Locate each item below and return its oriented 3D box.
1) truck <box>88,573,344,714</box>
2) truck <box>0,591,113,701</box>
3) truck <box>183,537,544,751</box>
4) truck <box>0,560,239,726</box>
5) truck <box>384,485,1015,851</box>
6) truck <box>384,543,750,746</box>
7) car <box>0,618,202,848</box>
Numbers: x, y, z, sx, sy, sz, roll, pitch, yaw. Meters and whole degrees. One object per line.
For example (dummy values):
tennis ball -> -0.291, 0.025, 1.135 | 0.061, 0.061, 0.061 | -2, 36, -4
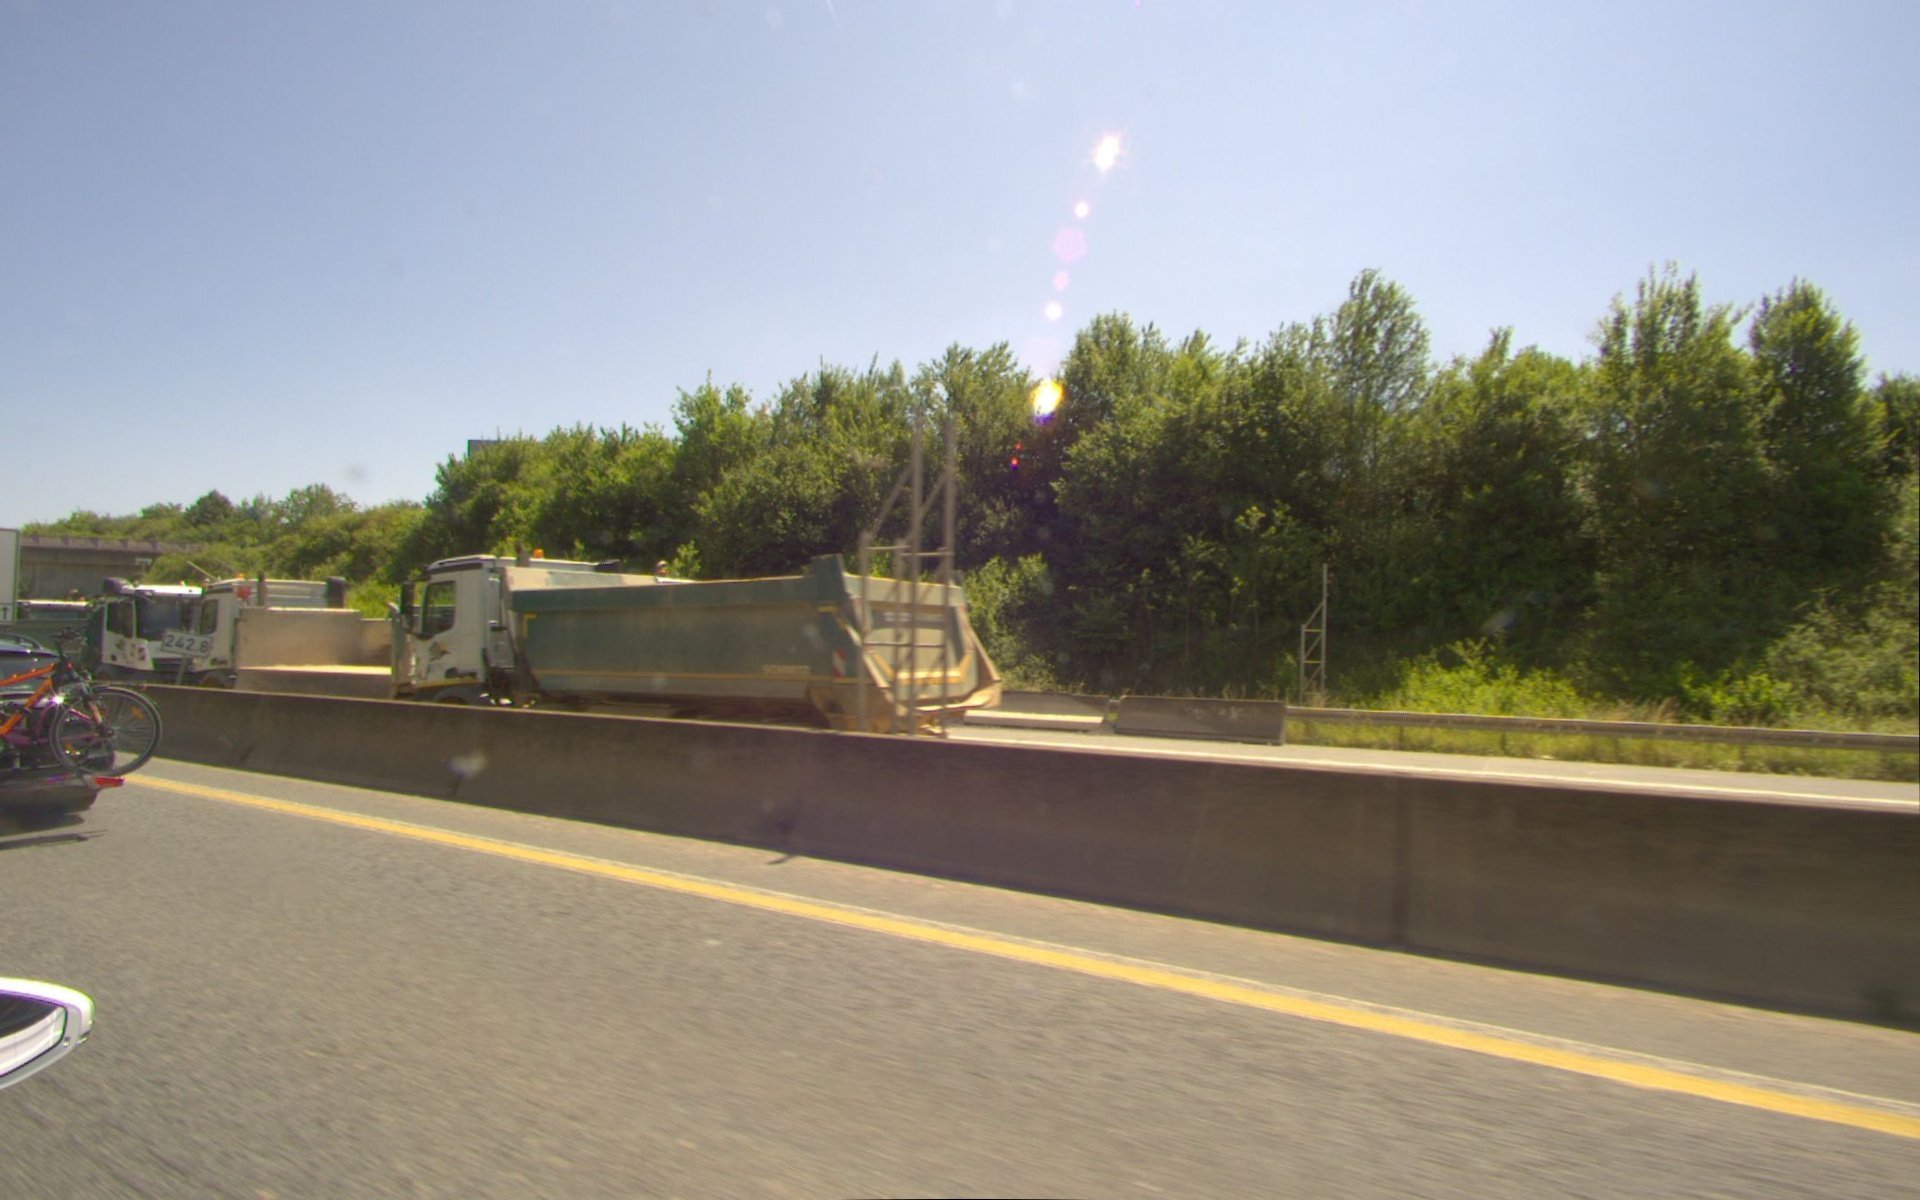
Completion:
truck -> -21.867, 1.217, 29.193 | 9.464, 3.602, 2.683 | -1, -2, 32
truck -> -34.312, 1.605, 36.291 | 9.463, 3.602, 2.683 | -1, -2, 32
truck -> -12.198, 0.823, 20.090 | 8.817, 3.556, 2.529 | -1, -2, 33
truck -> -21.965, 1.035, 25.375 | 9.463, 3.602, 2.535 | -1, -2, 32
truck -> -3.812, 0.752, 13.168 | 8.964, 3.556, 2.530 | -1, -2, 32
truck -> -8.383, 0.873, 20.896 | 8.258, 3.556, 2.683 | -1, -2, 32
car -> -8.258, 0.924, 8.030 | 4.877, 1.509, 1.896 | -1, -2, 33
